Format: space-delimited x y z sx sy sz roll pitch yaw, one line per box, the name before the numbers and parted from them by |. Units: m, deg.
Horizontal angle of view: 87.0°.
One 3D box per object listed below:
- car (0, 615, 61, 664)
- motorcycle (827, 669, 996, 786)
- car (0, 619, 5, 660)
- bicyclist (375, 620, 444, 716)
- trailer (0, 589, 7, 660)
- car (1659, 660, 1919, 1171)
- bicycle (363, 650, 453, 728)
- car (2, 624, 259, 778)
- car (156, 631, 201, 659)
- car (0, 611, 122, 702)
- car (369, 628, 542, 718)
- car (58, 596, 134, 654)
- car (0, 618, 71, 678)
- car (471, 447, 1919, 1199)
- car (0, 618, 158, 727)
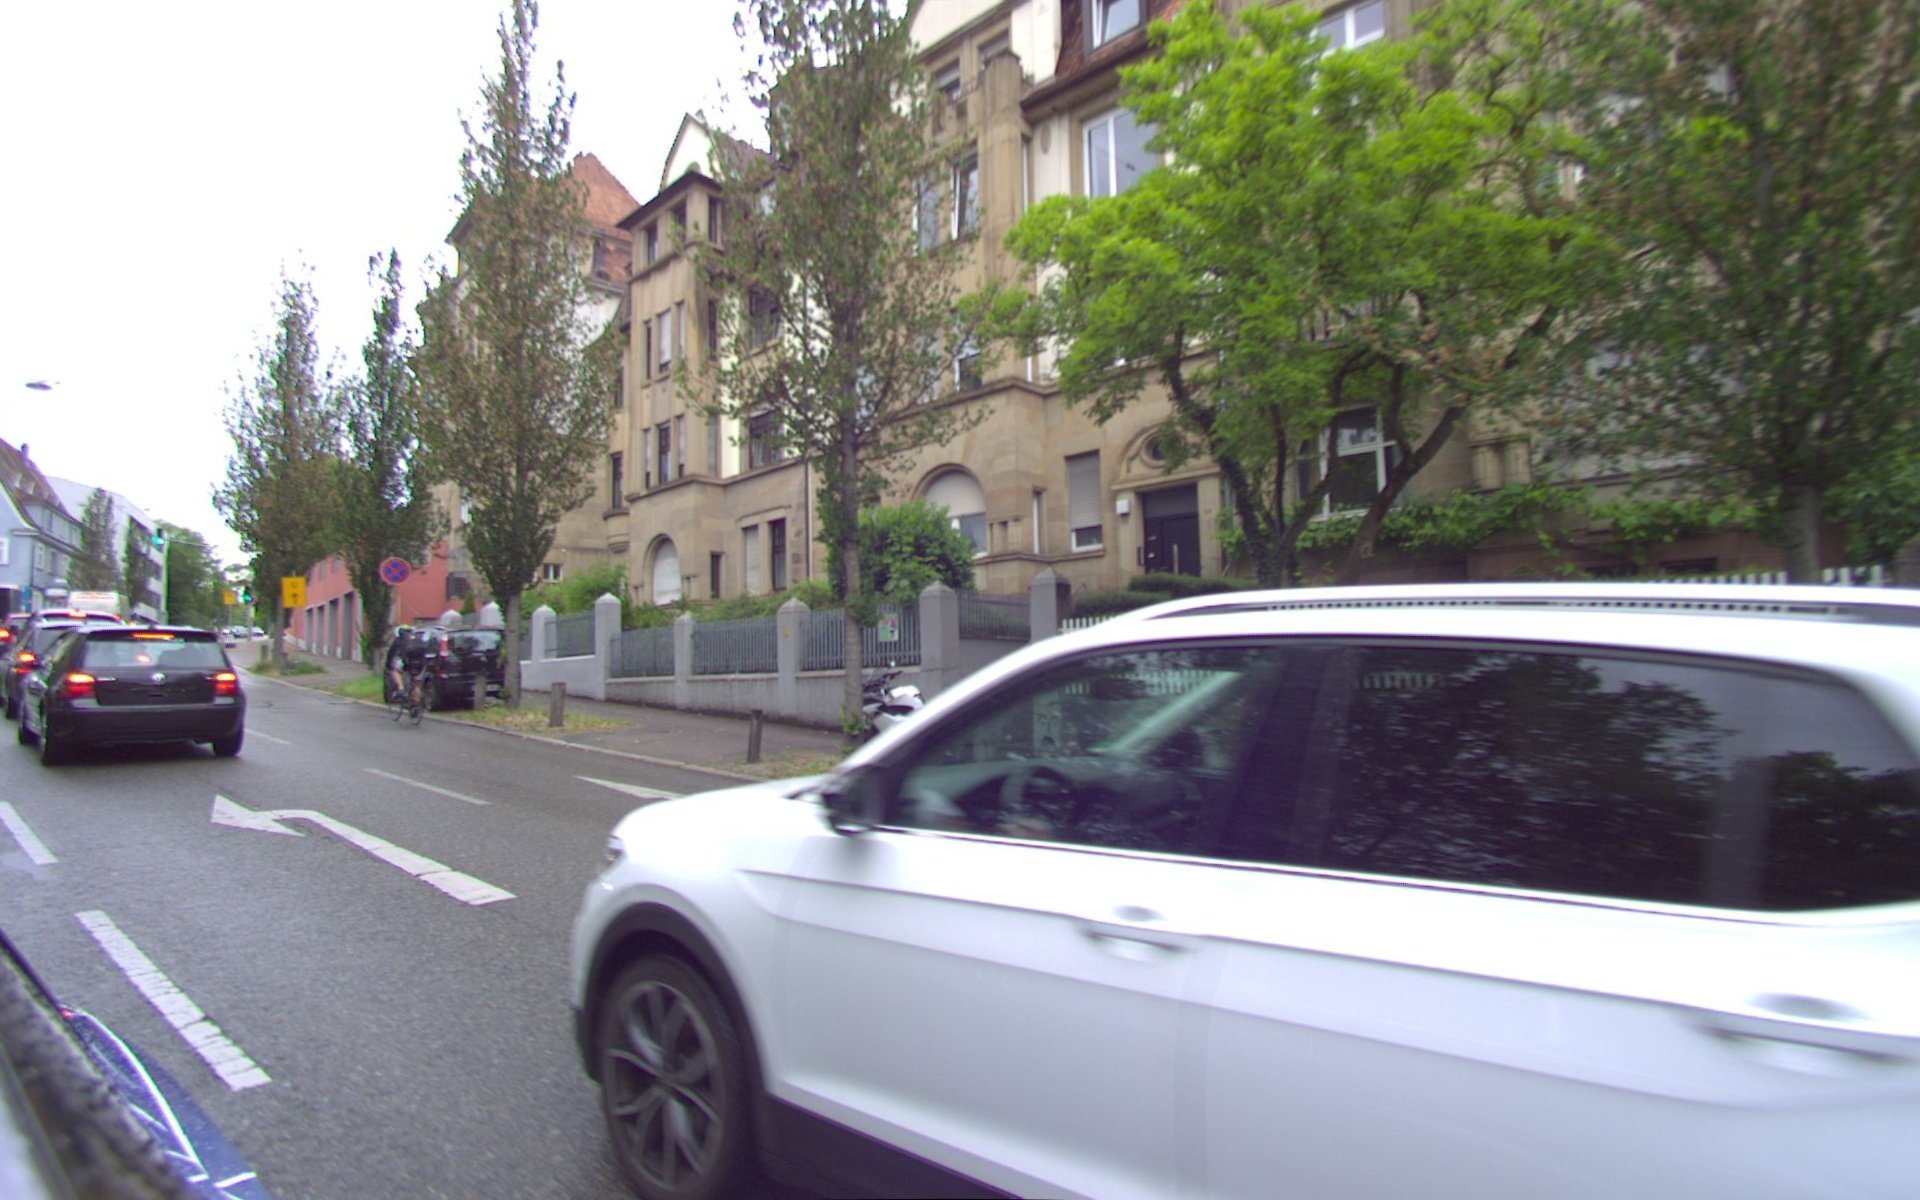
car | -34.869 1.529 37.938 1.598 1.675 4.119 7 -7 -41
motorcycle | -0.587 1.445 11.853 1.976 1.245 0.650 -2 -5 34
car | -40.739 1.647 41.744 1.897 1.664 4.138 2 -4 -43
bicyclist | -9.252 1.142 17.018 0.990 1.569 0.648 -3 -6 42
trailer | -42.926 1.071 44.105 1.938 3.065 2.367 2 -4 -43
car | 4.474 1.001 2.950 3.864 1.529 1.727 -3 -8 39
bicycle | -9.312 1.476 17.034 1.981 1.245 0.648 -3 -6 42
car | -9.482 1.042 11.464 3.886 1.442 1.743 -2 -5 44
car | -63.716 3.726 82.601 2.101 2.042 5.424 5 -7 -31
car | -19.221 1.191 21.527 4.116 1.721 1.633 -2 -7 45
car | -10.326 1.422 20.597 3.828 1.608 1.974 -2 -2 44
car | -42.627 1.302 50.076 2.101 2.525 5.422 6 -7 -34
car | -26.353 1.375 28.473 4.115 1.535 1.600 -4 -8 45
car | 0.719 0.697 2.394 4.095 1.529 1.754 -3 -6 39
car | -14.141 1.167 16.005 4.115 1.491 1.692 -4 -8 45
